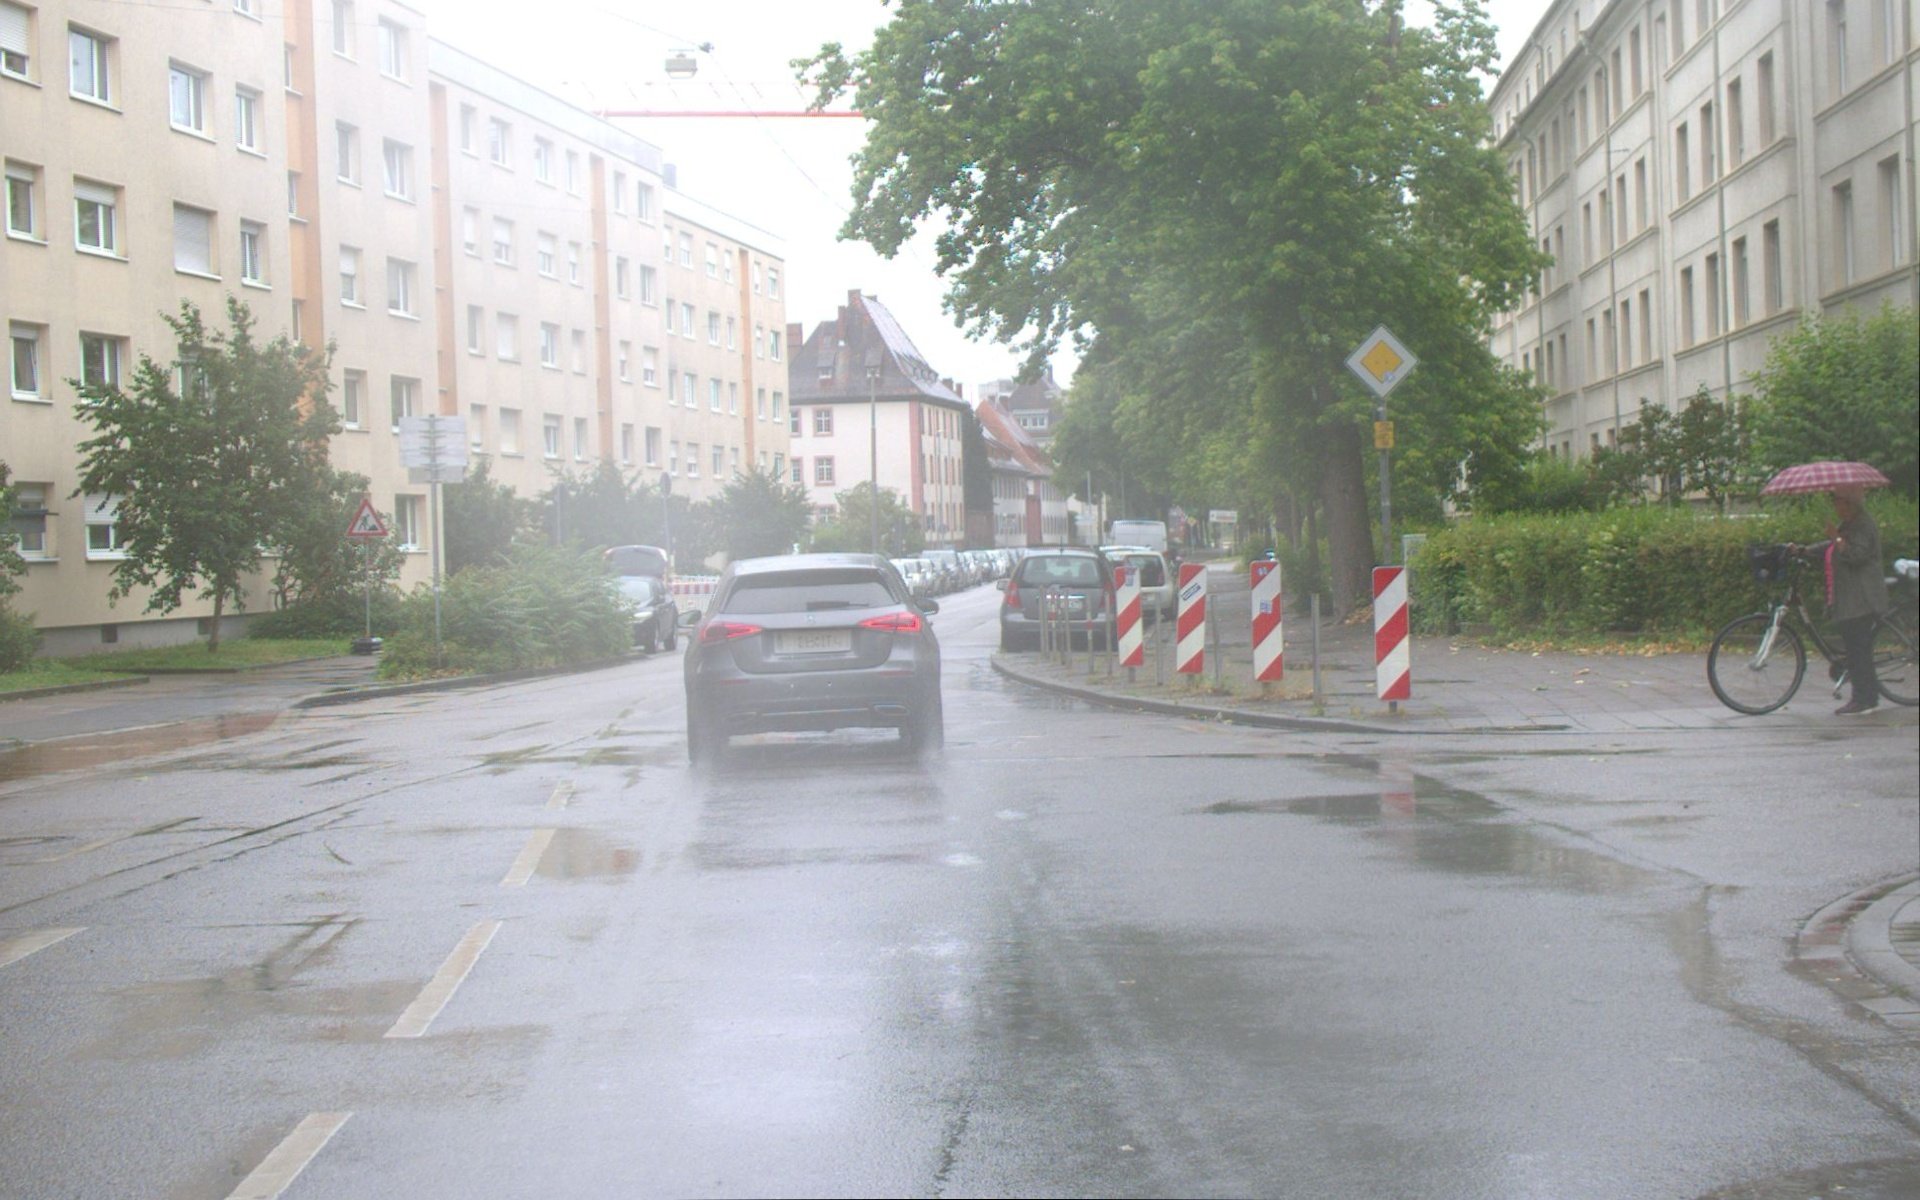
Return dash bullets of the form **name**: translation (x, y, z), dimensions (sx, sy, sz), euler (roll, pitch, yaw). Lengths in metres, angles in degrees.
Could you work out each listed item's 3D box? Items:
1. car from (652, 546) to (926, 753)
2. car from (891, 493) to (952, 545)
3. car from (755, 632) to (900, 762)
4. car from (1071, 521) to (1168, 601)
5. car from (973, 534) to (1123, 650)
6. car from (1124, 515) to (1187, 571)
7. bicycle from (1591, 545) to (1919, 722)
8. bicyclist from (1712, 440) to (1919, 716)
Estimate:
- **car**: translation (-1.167, 0.308, 24.897), dimensions (1.791, 1.368, 3.507), euler (-1, 1, 0)
- **car**: translation (-1.396, -2.955, 126.215), dimensions (1.890, 1.830, 4.000), euler (-2, 1, 4)
- **car**: translation (-1.626, 1.182, 43.277), dimensions (1.607, 1.368, 4.000), euler (-3, 1, 0)
- **car**: translation (3.377, -0.819, 72.111), dimensions (1.890, 1.568, 4.000), euler (-2, 1, 4)
- **car**: translation (1.250, -0.130, 50.651), dimensions (1.993, 1.568, 4.000), euler (-2, 1, -1)
- **car**: translation (6.765, -1.949, 118.816), dimensions (2.047, 1.830, 4.791), euler (-2, 1, 4)
- **bicycle**: translation (6.152, 0.204, 24.224), dimensions (3.205, 1.108, 1.054), euler (-2, 1, -18)
- **bicyclist**: translation (6.020, -0.161, 24.132), dimensions (0.938, 1.862, 1.143), euler (-2, 1, -18)
